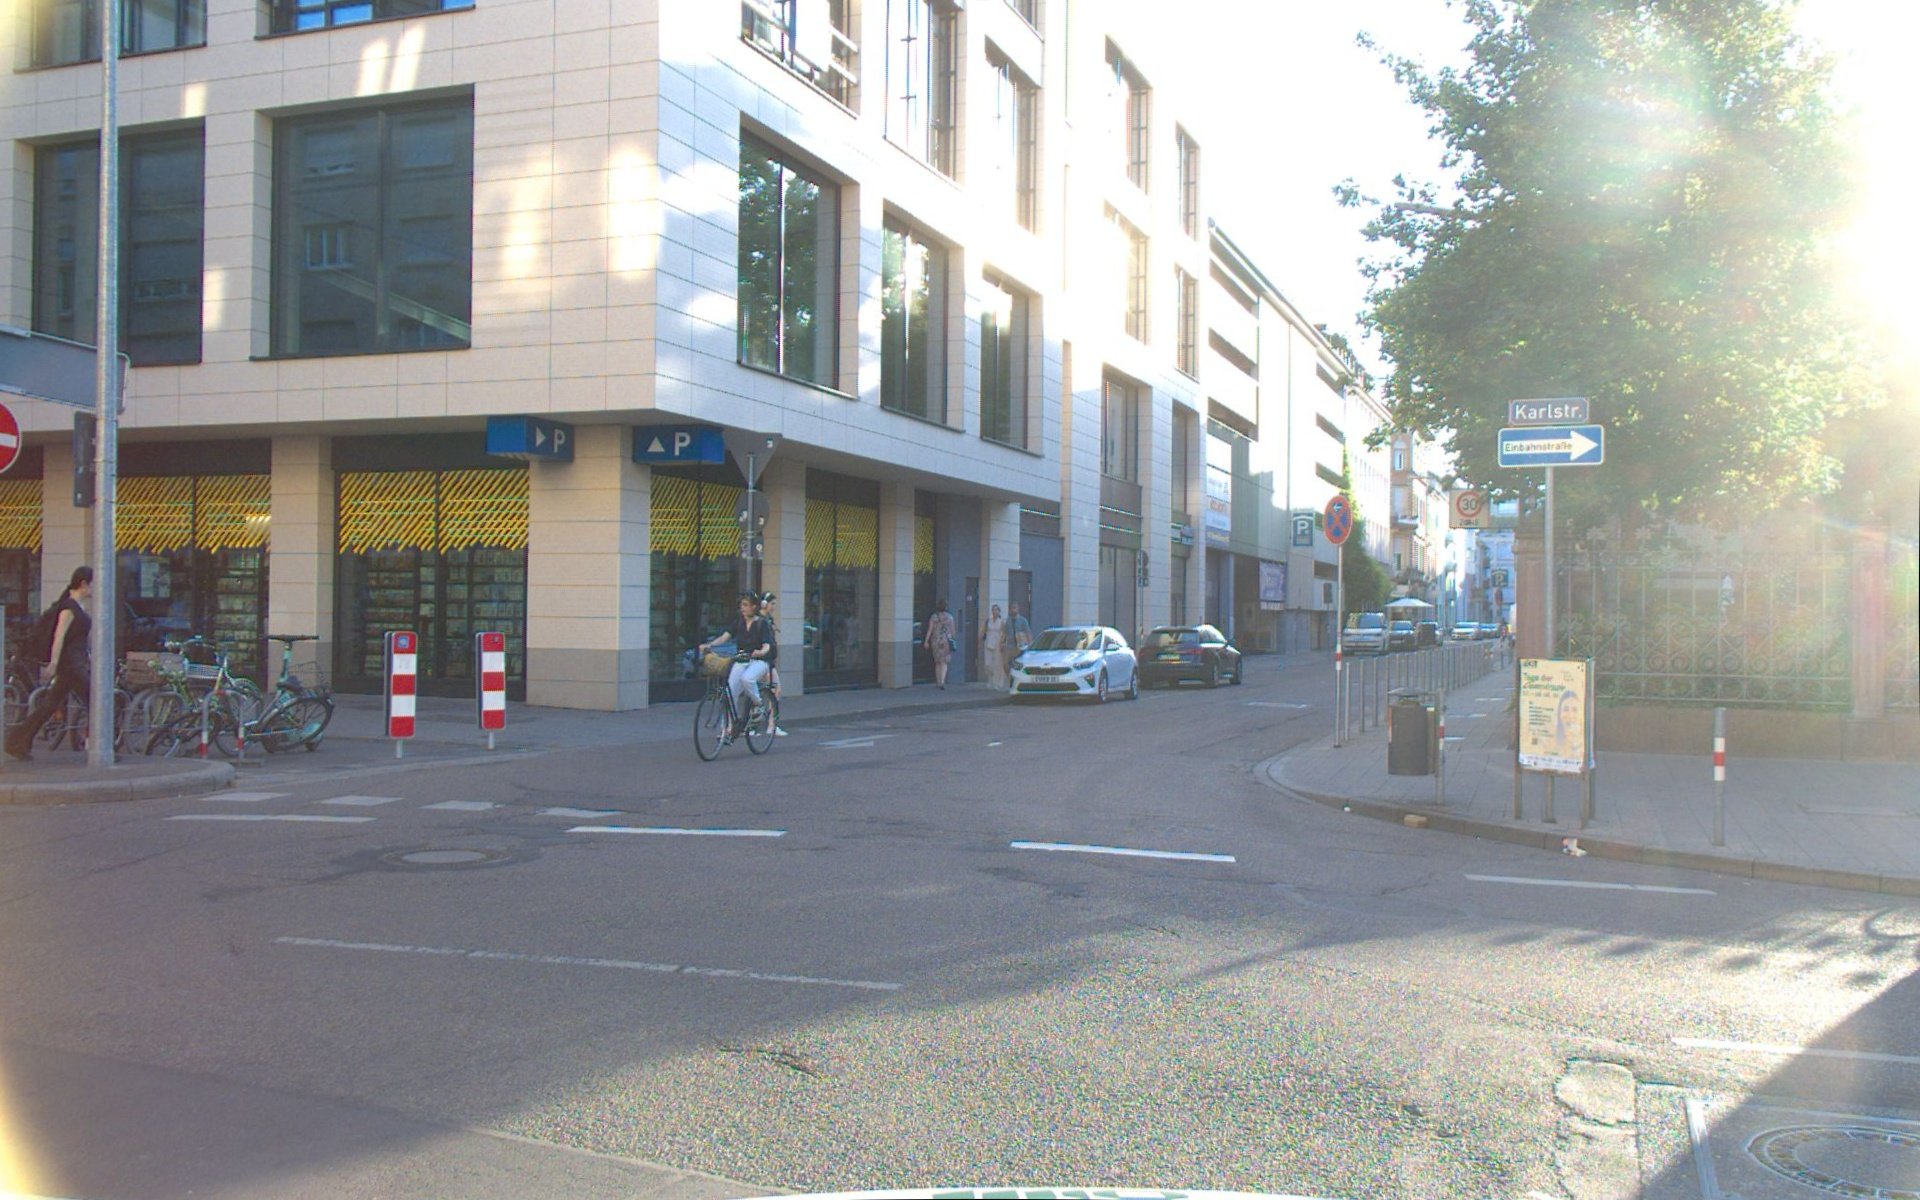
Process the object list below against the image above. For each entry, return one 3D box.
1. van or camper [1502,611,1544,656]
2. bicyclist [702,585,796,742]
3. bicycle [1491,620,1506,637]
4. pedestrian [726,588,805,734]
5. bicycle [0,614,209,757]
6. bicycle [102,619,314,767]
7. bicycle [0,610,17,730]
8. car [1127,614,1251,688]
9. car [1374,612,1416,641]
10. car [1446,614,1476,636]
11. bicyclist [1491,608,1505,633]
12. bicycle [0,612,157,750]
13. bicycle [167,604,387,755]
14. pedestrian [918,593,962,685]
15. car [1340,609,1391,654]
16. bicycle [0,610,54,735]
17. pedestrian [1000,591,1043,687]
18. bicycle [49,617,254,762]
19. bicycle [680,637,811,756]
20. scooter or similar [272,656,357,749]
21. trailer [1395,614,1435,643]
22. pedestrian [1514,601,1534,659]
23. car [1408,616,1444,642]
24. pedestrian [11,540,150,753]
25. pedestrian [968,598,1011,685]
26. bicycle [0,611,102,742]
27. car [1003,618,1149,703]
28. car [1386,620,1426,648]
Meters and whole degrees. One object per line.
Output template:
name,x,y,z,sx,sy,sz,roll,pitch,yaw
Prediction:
van or camper,35.962,2.137,105.539,2.211,2.653,5.112,-3,-2,21
bicyclist,-2.216,0.655,17.411,0.644,1.598,0.864,1,-1,17
bicycle,41.406,2.188,127.254,0.955,1.302,2.754,1,-1,21
pedestrian,-2.414,0.740,20.459,0.630,1.753,0.835,1,0,-35
bicycle,-8.186,0.787,15.861,0.501,1.277,1.979,1,-1,21
bicycle,-6.999,0.833,15.523,0.568,1.277,2.045,1,-1,17
bicycle,-10.687,0.721,16.883,0.501,1.277,1.979,1,-1,19
car,5.615,1.176,40.065,1.845,1.626,4.688,1,0,23
car,22.864,1.370,86.839,1.844,1.478,4.001,1,0,19
car,39.974,2.017,131.934,1.952,1.713,4.000,1,-1,21
bicyclist,41.379,1.593,127.175,0.970,1.901,0.708,1,-1,23
bicycle,-8.850,0.763,16.197,0.501,1.277,1.979,1,-1,19
bicycle,-6.268,0.704,15.334,0.650,1.277,2.142,1,-1,17
pedestrian,-0.397,0.760,32.647,0.658,1.775,0.647,1,-1,21
car,18.727,1.414,76.215,1.844,1.945,4.749,1,0,19
bicycle,-10.173,0.733,16.662,0.501,1.277,1.979,1,-1,19
pedestrian,1.228,0.770,32.864,0.658,1.868,0.647,1,0,18
bicycle,-7.606,0.811,15.674,0.501,1.277,1.980,1,-1,17
bicycle,-2.230,0.981,17.425,0.650,1.158,1.823,1,-1,17
scooter or similar,-6.587,1.033,16.903,0.378,0.899,0.770,1,-1,19
trailer,26.328,1.639,95.683,1.952,1.584,4.001,1,-1,19
pedestrian,16.442,0.875,48.248,0.474,1.687,0.619,-1,-1,14
car,28.109,1.736,99.803,1.844,1.478,4.001,1,0,19
pedestrian,-7.176,0.377,13.527,0.856,1.687,0.615,1,-1,-18
pedestrian,0.590,0.821,33.085,0.658,1.704,0.647,1,0,18
bicycle,-9.563,0.749,16.487,0.501,1.277,1.980,1,-1,18
car,2.312,1.104,31.834,1.740,1.478,4.232,1,0,19
car,24.795,1.857,91.841,1.844,1.478,4.001,1,0,19
